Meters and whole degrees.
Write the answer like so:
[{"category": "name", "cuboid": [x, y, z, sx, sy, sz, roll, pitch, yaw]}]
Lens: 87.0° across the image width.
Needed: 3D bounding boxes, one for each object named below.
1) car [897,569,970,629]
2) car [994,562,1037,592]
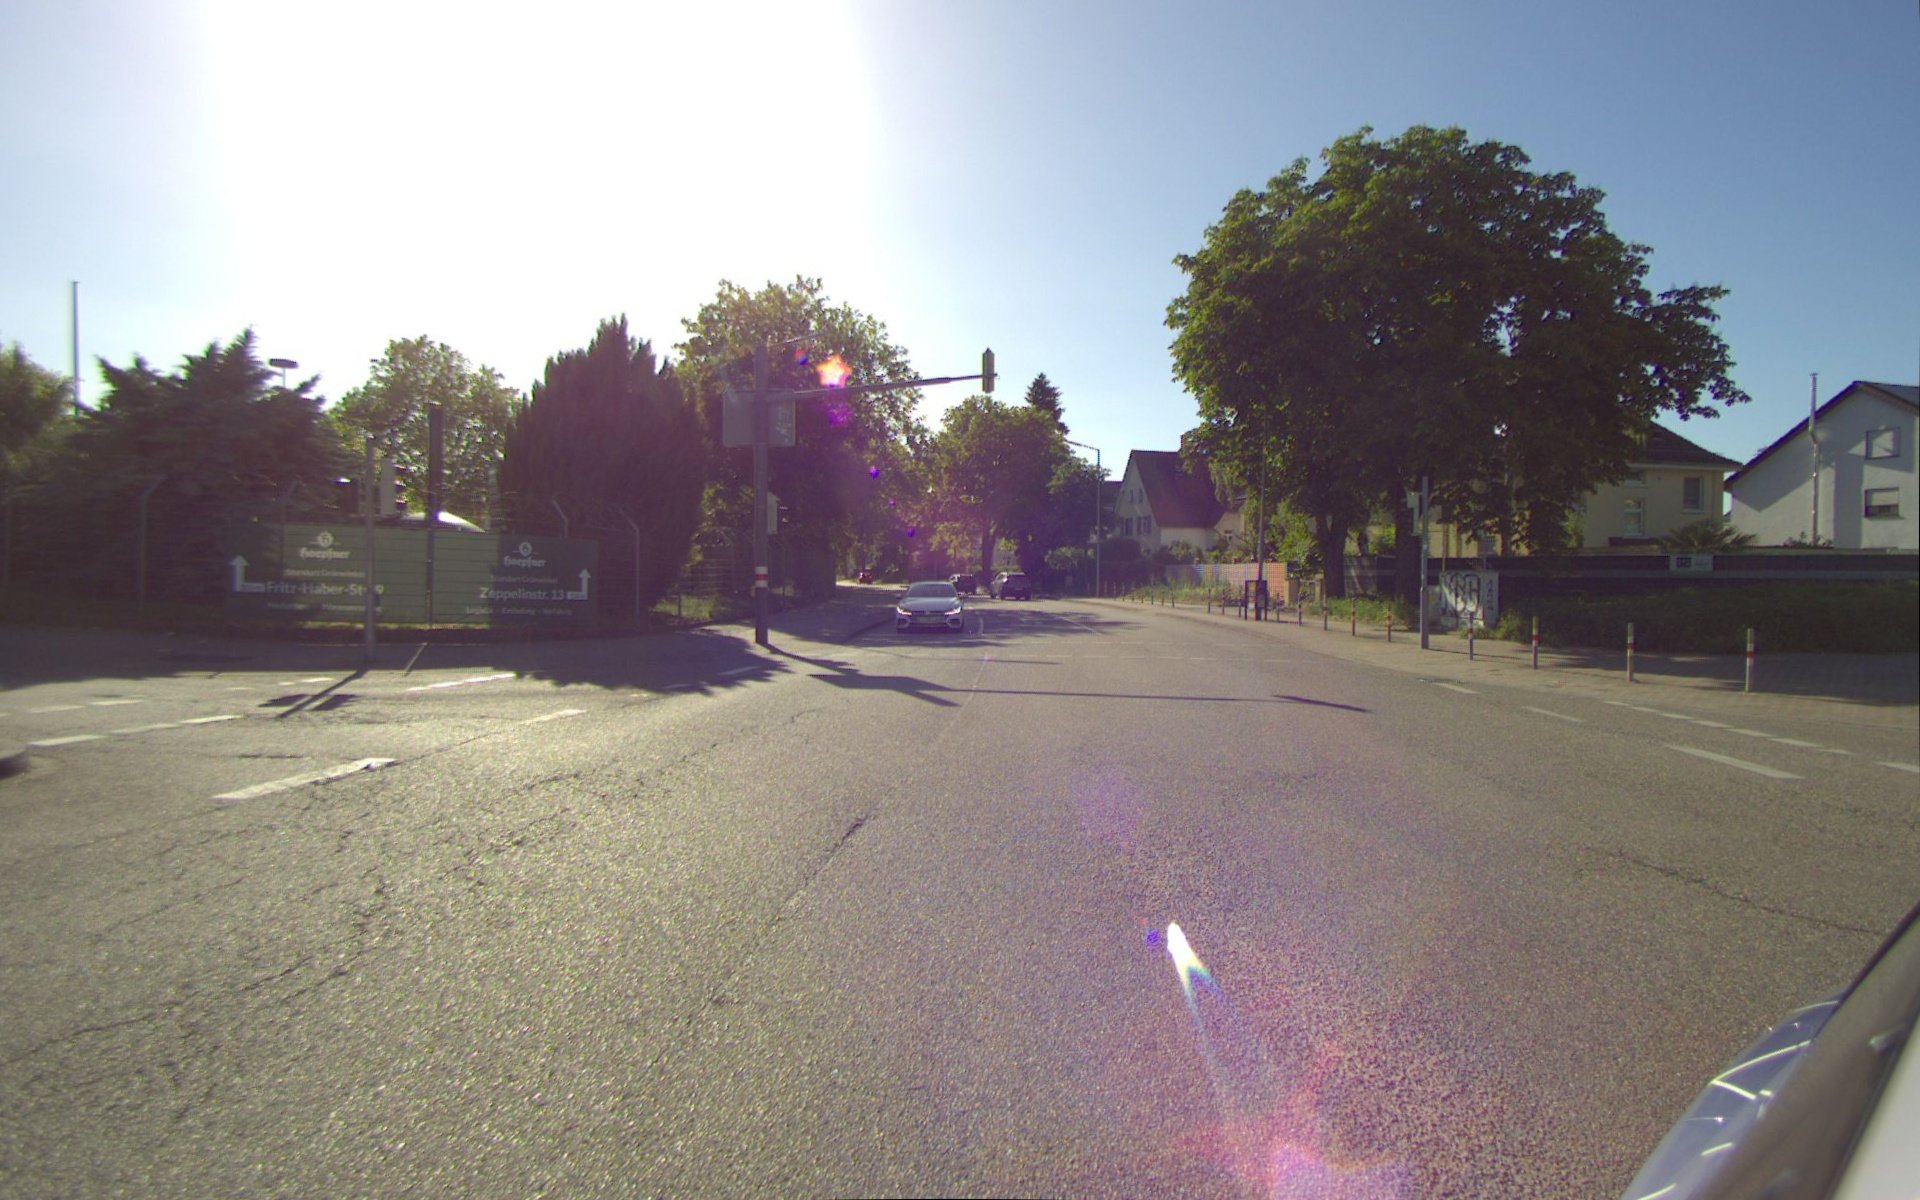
[{"category": "car", "cuboid": [-0.677, -0.091, 28.899, 1.777, 1.551, 4.513, 0, 2, 3]}, {"category": "car", "cuboid": [3.228, -1.373, 59.669, 1.825, 1.655, 4.263, 1, 1, -7]}]
